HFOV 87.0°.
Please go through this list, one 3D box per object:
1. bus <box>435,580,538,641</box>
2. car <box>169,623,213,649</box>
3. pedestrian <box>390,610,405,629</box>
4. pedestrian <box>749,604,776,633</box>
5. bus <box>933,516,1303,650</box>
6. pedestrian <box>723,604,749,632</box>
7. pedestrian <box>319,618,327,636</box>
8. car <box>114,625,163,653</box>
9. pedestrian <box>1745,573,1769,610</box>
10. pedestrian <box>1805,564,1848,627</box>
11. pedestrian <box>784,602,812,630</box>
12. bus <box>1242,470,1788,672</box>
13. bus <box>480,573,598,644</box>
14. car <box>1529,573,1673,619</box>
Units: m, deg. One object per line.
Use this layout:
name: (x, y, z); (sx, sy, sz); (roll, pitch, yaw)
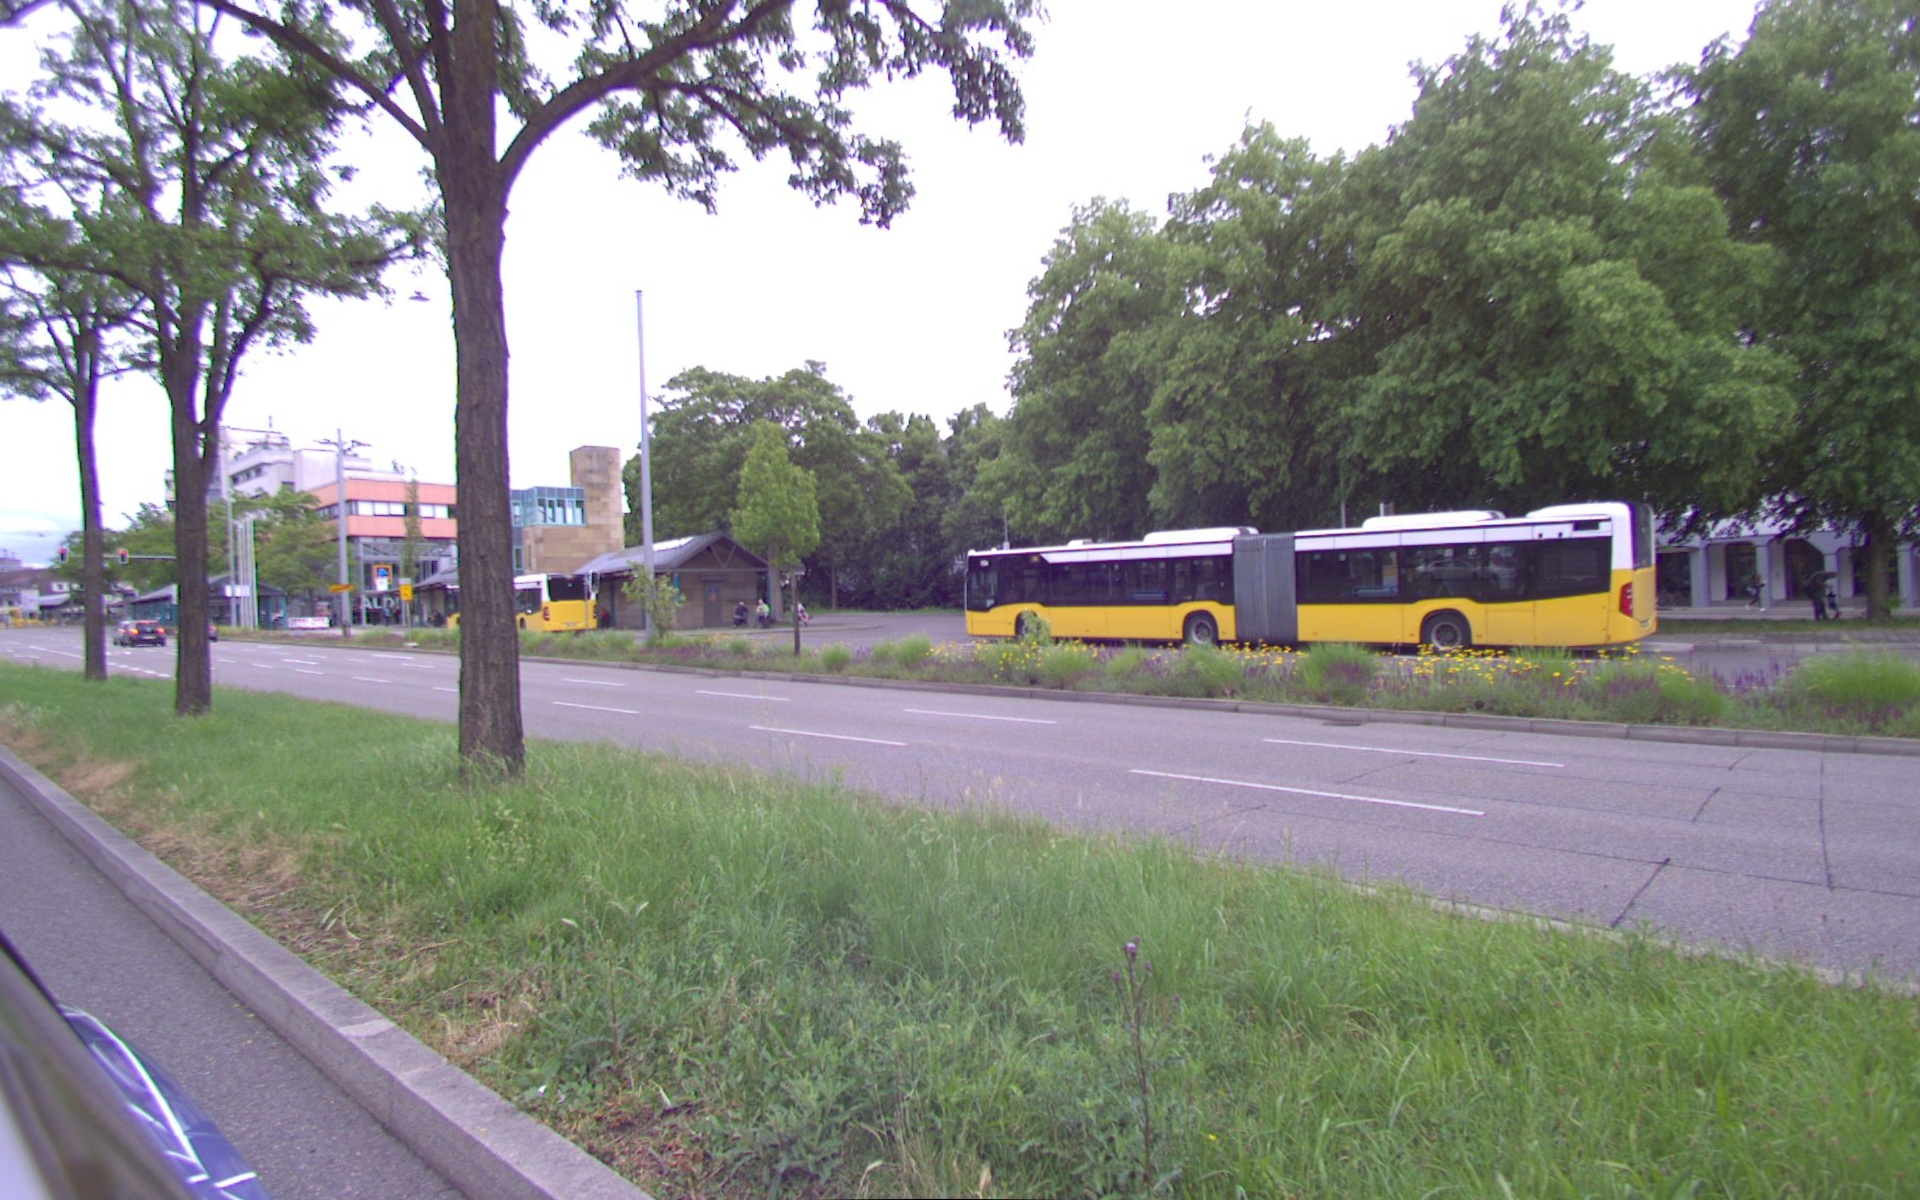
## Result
bus: (-27.351, 0.659, 58.196); (2.742, 3.155, 9.451); (-4, 1, -41)
car: (-49.685, 2.296, 65.351); (1.794, 1.519, 4.003); (-1, 0, -44)
pedestrian: (-46.396, 1.603, 83.474); (0.585, 1.472, 0.989); (-2, 0, 11)
pedestrian: (-8.993, 0.835, 46.201); (0.888, 1.300, 0.853); (-2, 0, 18)
bus: (4.109, -0.385, 29.384); (3.049, 3.185, 10.743); (-6, 3, -45)
pedestrian: (-10.545, 0.853, 47.694); (0.887, 1.264, 0.854); (-2, 0, 13)
pedestrian: (-57.325, 2.430, 91.076); (0.521, 1.559, 0.756); (-2, 0, -32)
car: (-47.556, 2.222, 58.577); (3.768, 1.519, 1.641); (-1, 0, 42)
pedestrian: (34.100, -0.367, 43.316); (0.649, 1.559, 0.668); (-1, -1, -41)
pedestrian: (23.876, -0.117, 27.894); (0.857, 1.701, 0.450); (-2, -1, 41)
pedestrian: (-7.512, 0.729, 46.947); (0.858, 1.264, 0.883); (-2, -1, 42)
bus: (11.417, -0.454, 22.034); (2.996, 3.481, 9.917); (-3, 1, -44)
bus: (-21.502, 0.476, 51.286); (2.774, 3.155, 9.315); (-4, 1, -40)
car: (24.291, -0.132, 38.435); (1.970, 1.593, 4.250); (-1, -1, -44)
